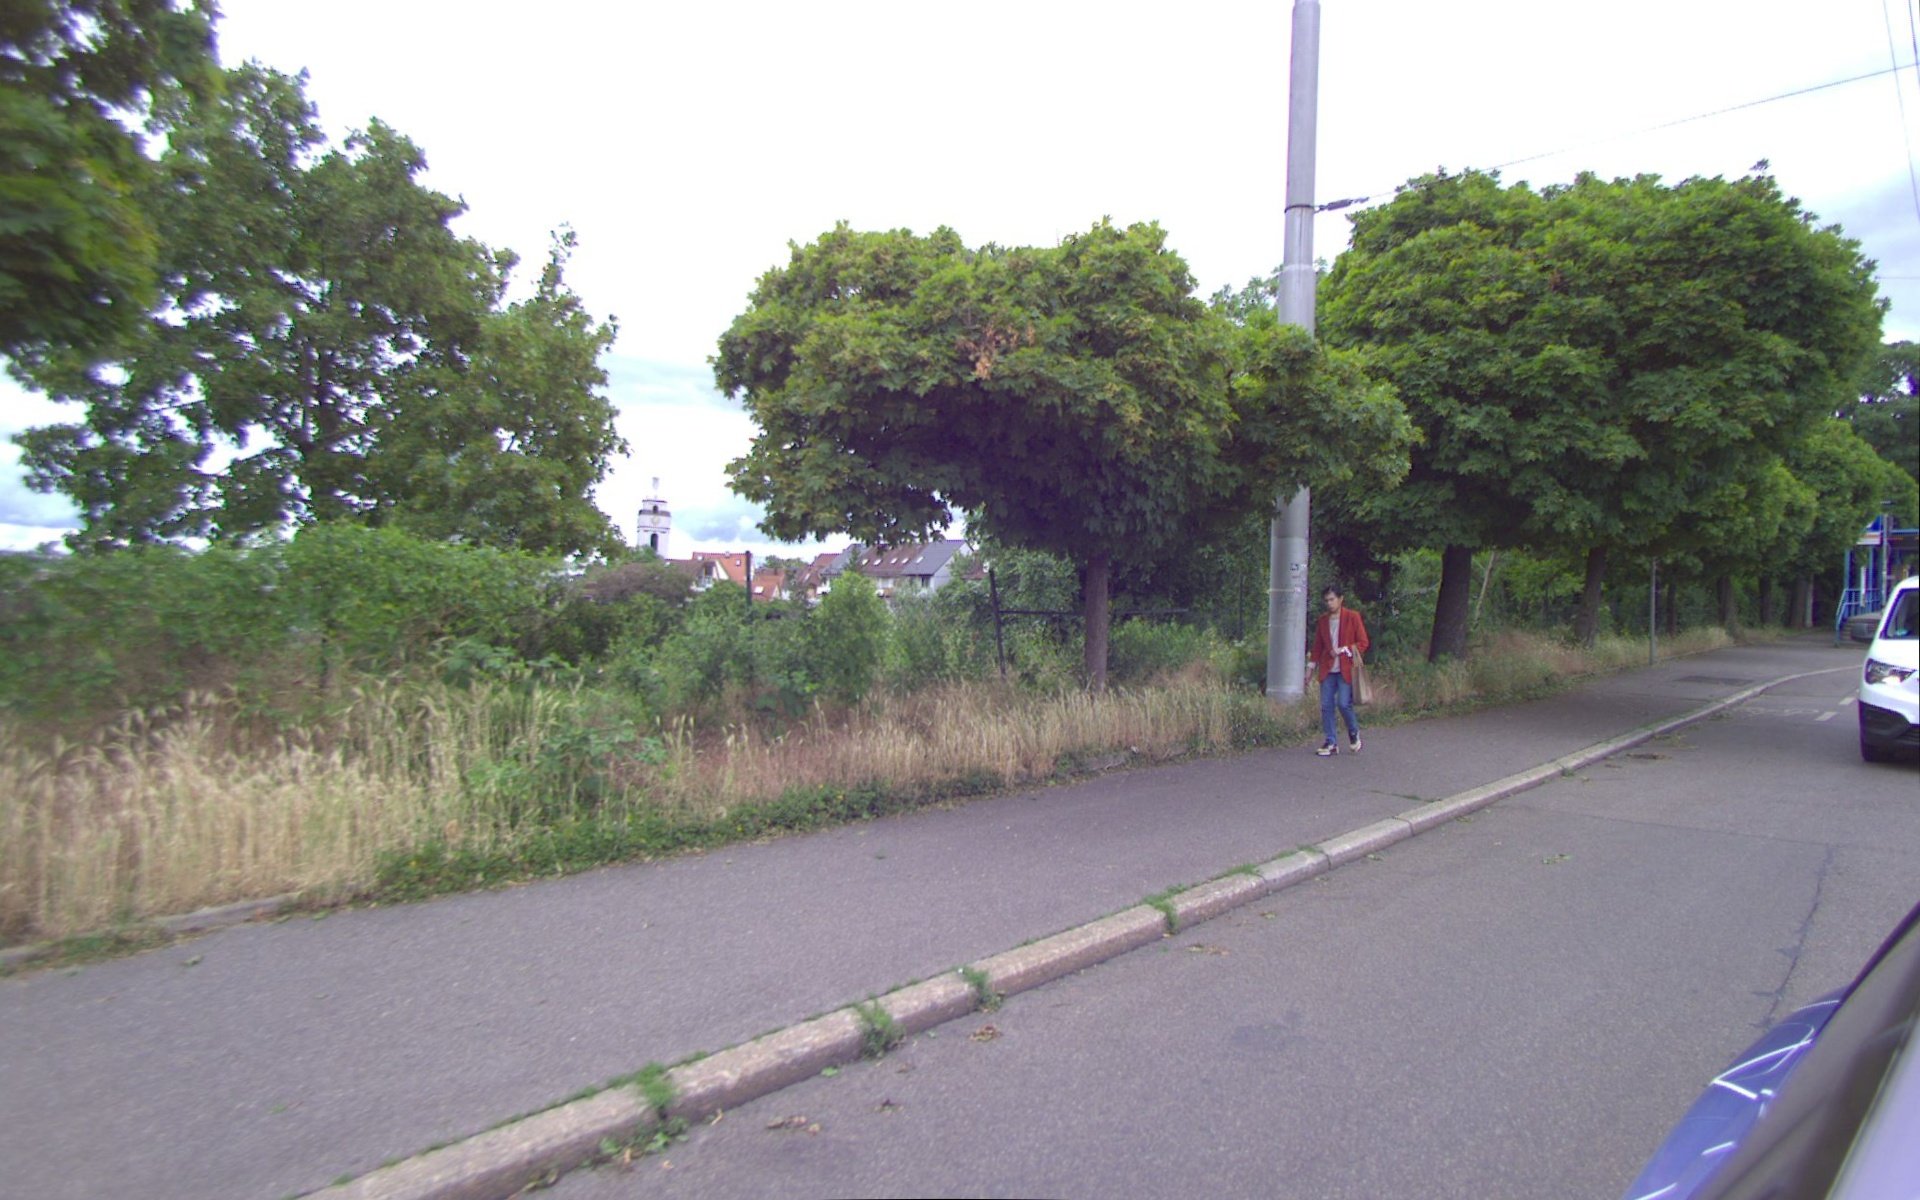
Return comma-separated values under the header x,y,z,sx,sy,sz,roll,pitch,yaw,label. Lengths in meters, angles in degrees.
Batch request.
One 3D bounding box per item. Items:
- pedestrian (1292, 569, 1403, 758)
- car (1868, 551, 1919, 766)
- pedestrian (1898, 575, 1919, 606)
x,y,z,sx,sy,sz,roll,pitch,yaw,label
3.556,0.538,9.288,0.706,1.641,0.715,0,1,-43,pedestrian
10.348,0.516,9.945,4.345,1.884,1.728,0,1,-43,car
40.697,-0.404,43.295,0.646,1.331,0.780,0,1,-43,pedestrian
